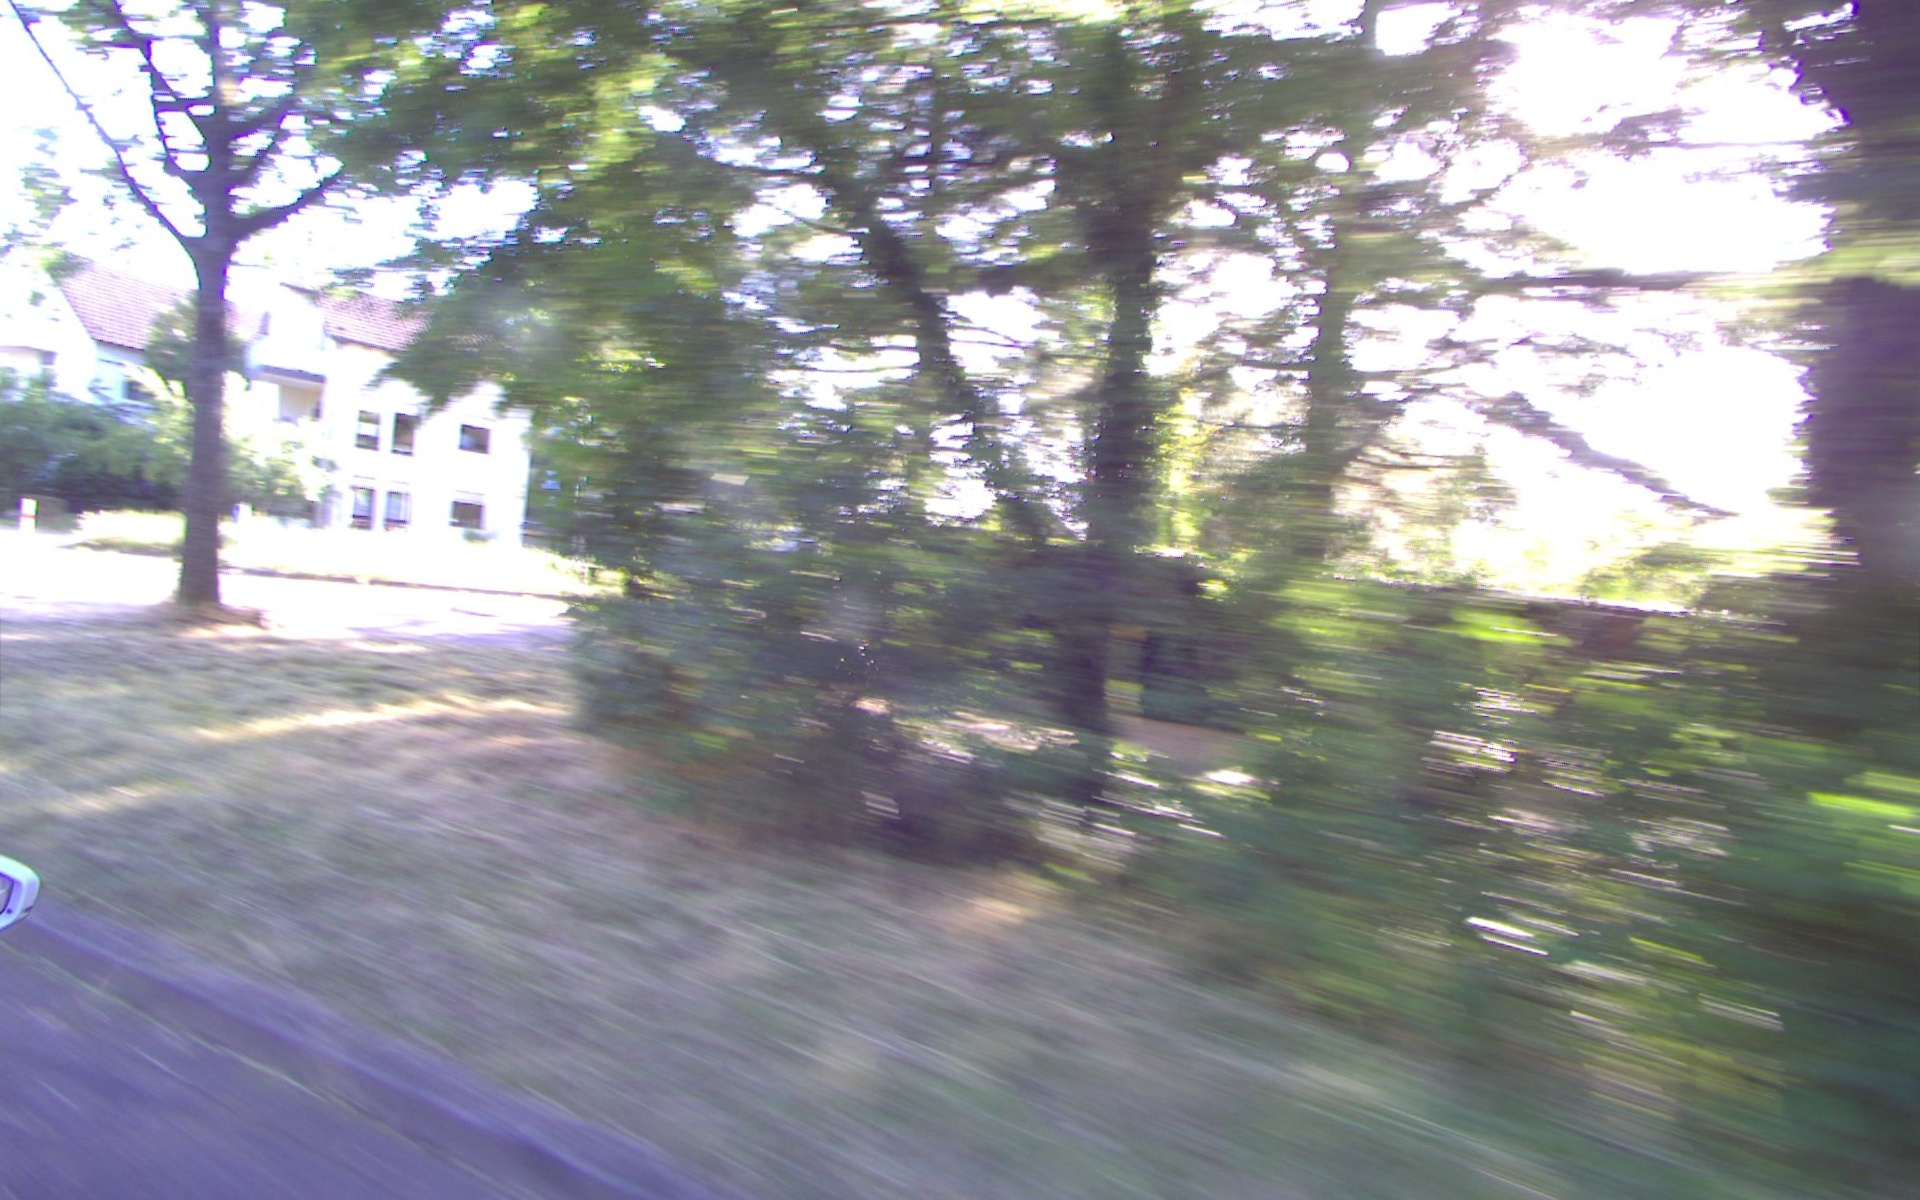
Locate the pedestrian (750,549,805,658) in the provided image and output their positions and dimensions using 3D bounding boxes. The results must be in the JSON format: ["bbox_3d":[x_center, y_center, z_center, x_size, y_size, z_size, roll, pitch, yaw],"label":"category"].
[{"bbox_3d":[-2.699,0.055,14.853,0.529,1.540,0.395,7,3,24],"label":"pedestrian"}]

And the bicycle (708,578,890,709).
[{"bbox_3d":[-1.771,0.452,10.982,1.862,1.160,0.458,7,3,19],"label":"bicycle"}]

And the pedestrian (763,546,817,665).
[{"bbox_3d":[-2.365,0.077,14.031,0.528,1.581,0.396,6,2,3],"label":"pedestrian"}]

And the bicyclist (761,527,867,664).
[{"bbox_3d":[-1.575,-0.054,10.930,0.822,1.365,0.638,7,2,18],"label":"bicyclist"}]
